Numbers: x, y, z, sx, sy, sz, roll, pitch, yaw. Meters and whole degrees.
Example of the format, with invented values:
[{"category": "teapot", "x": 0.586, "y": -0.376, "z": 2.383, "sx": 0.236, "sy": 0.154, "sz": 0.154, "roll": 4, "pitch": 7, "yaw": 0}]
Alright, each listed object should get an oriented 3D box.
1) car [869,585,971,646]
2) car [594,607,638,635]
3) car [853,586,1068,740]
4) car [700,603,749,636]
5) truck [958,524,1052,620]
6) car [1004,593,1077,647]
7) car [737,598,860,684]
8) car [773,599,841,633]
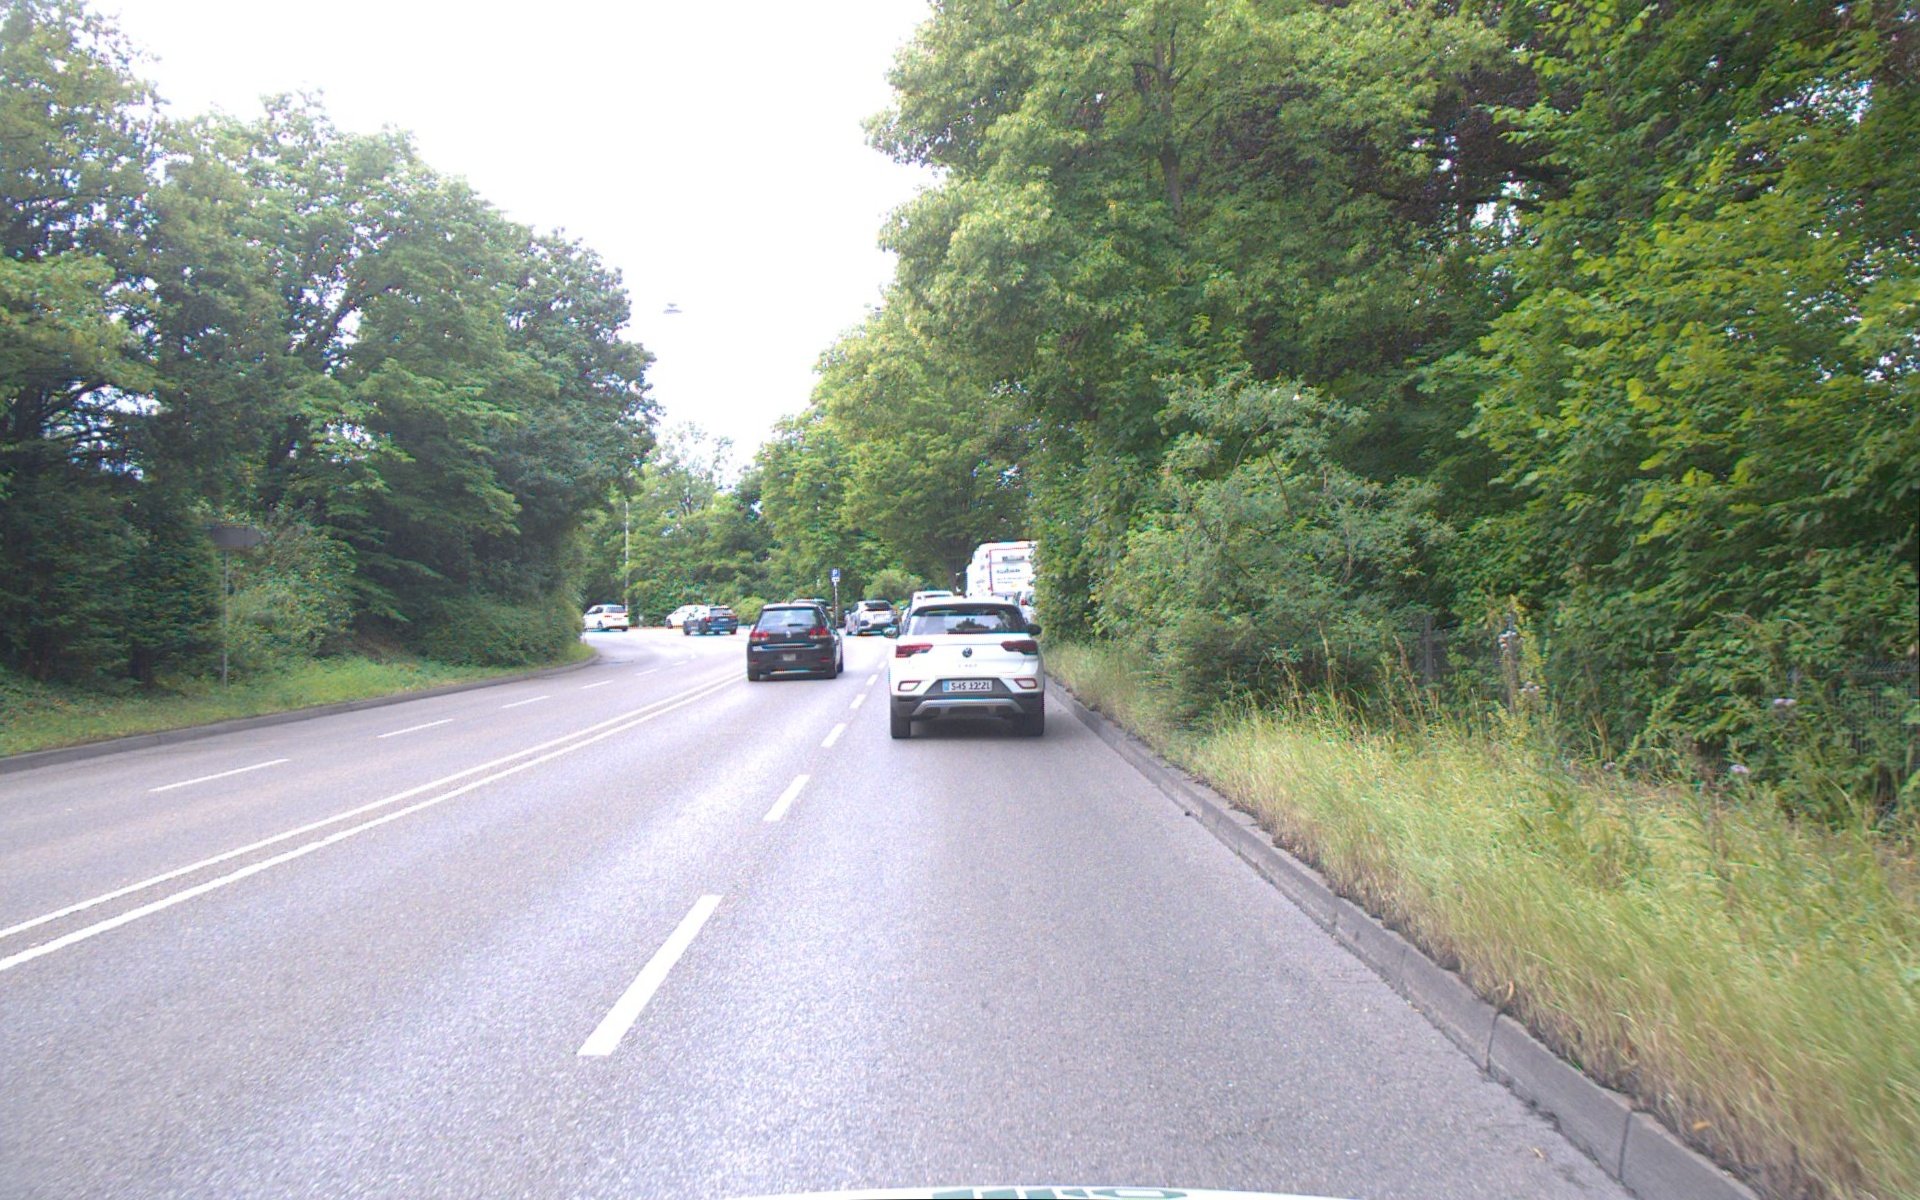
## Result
[{"category": "car", "x": -1.281, "y": 0.476, "z": 51.474, "sx": 1.826, "sy": 1.732, "sz": 3.972, "roll": -3, "pitch": 1, "yaw": -22}, {"category": "car", "x": -20.389, "y": 1.246, "z": 98.208, "sx": 1.784, "sy": 1.651, "sz": 3.999, "roll": 1, "pitch": -1, "yaw": -1}, {"category": "car", "x": -0.113, "y": 0.698, "z": 19.577, "sx": 1.963, "sy": 1.624, "sz": 3.992, "roll": 1, "pitch": -1, "yaw": -9}, {"category": "car", "x": -11.969, "y": 1.016, "z": 84.298, "sx": 1.953, "sy": 1.620, "sz": 3.999, "roll": 1, "pitch": -1, "yaw": -1}, {"category": "truck", "x": 1.542, "y": -0.907, "z": 60.115, "sx": 2.434, "sy": 3.237, "sz": 7.219, "roll": 1, "pitch": -1, "yaw": -6}, {"category": "car", "x": 2.404, "y": 0.589, "z": 50.304, "sx": 1.767, "sy": 1.551, "sz": 3.997, "roll": -1, "pitch": 0, "yaw": -4}, {"category": "car", "x": -3.161, "y": 0.787, "z": 33.044, "sx": 1.909, "sy": 1.491, "sz": 4.000, "roll": -3, "pitch": -1, "yaw": 1}, {"category": "car", "x": -7.730, "y": 0.813, "z": 83.296, "sx": 1.750, "sy": 1.635, "sz": 3.953, "roll": 1, "pitch": -1, "yaw": -33}]
